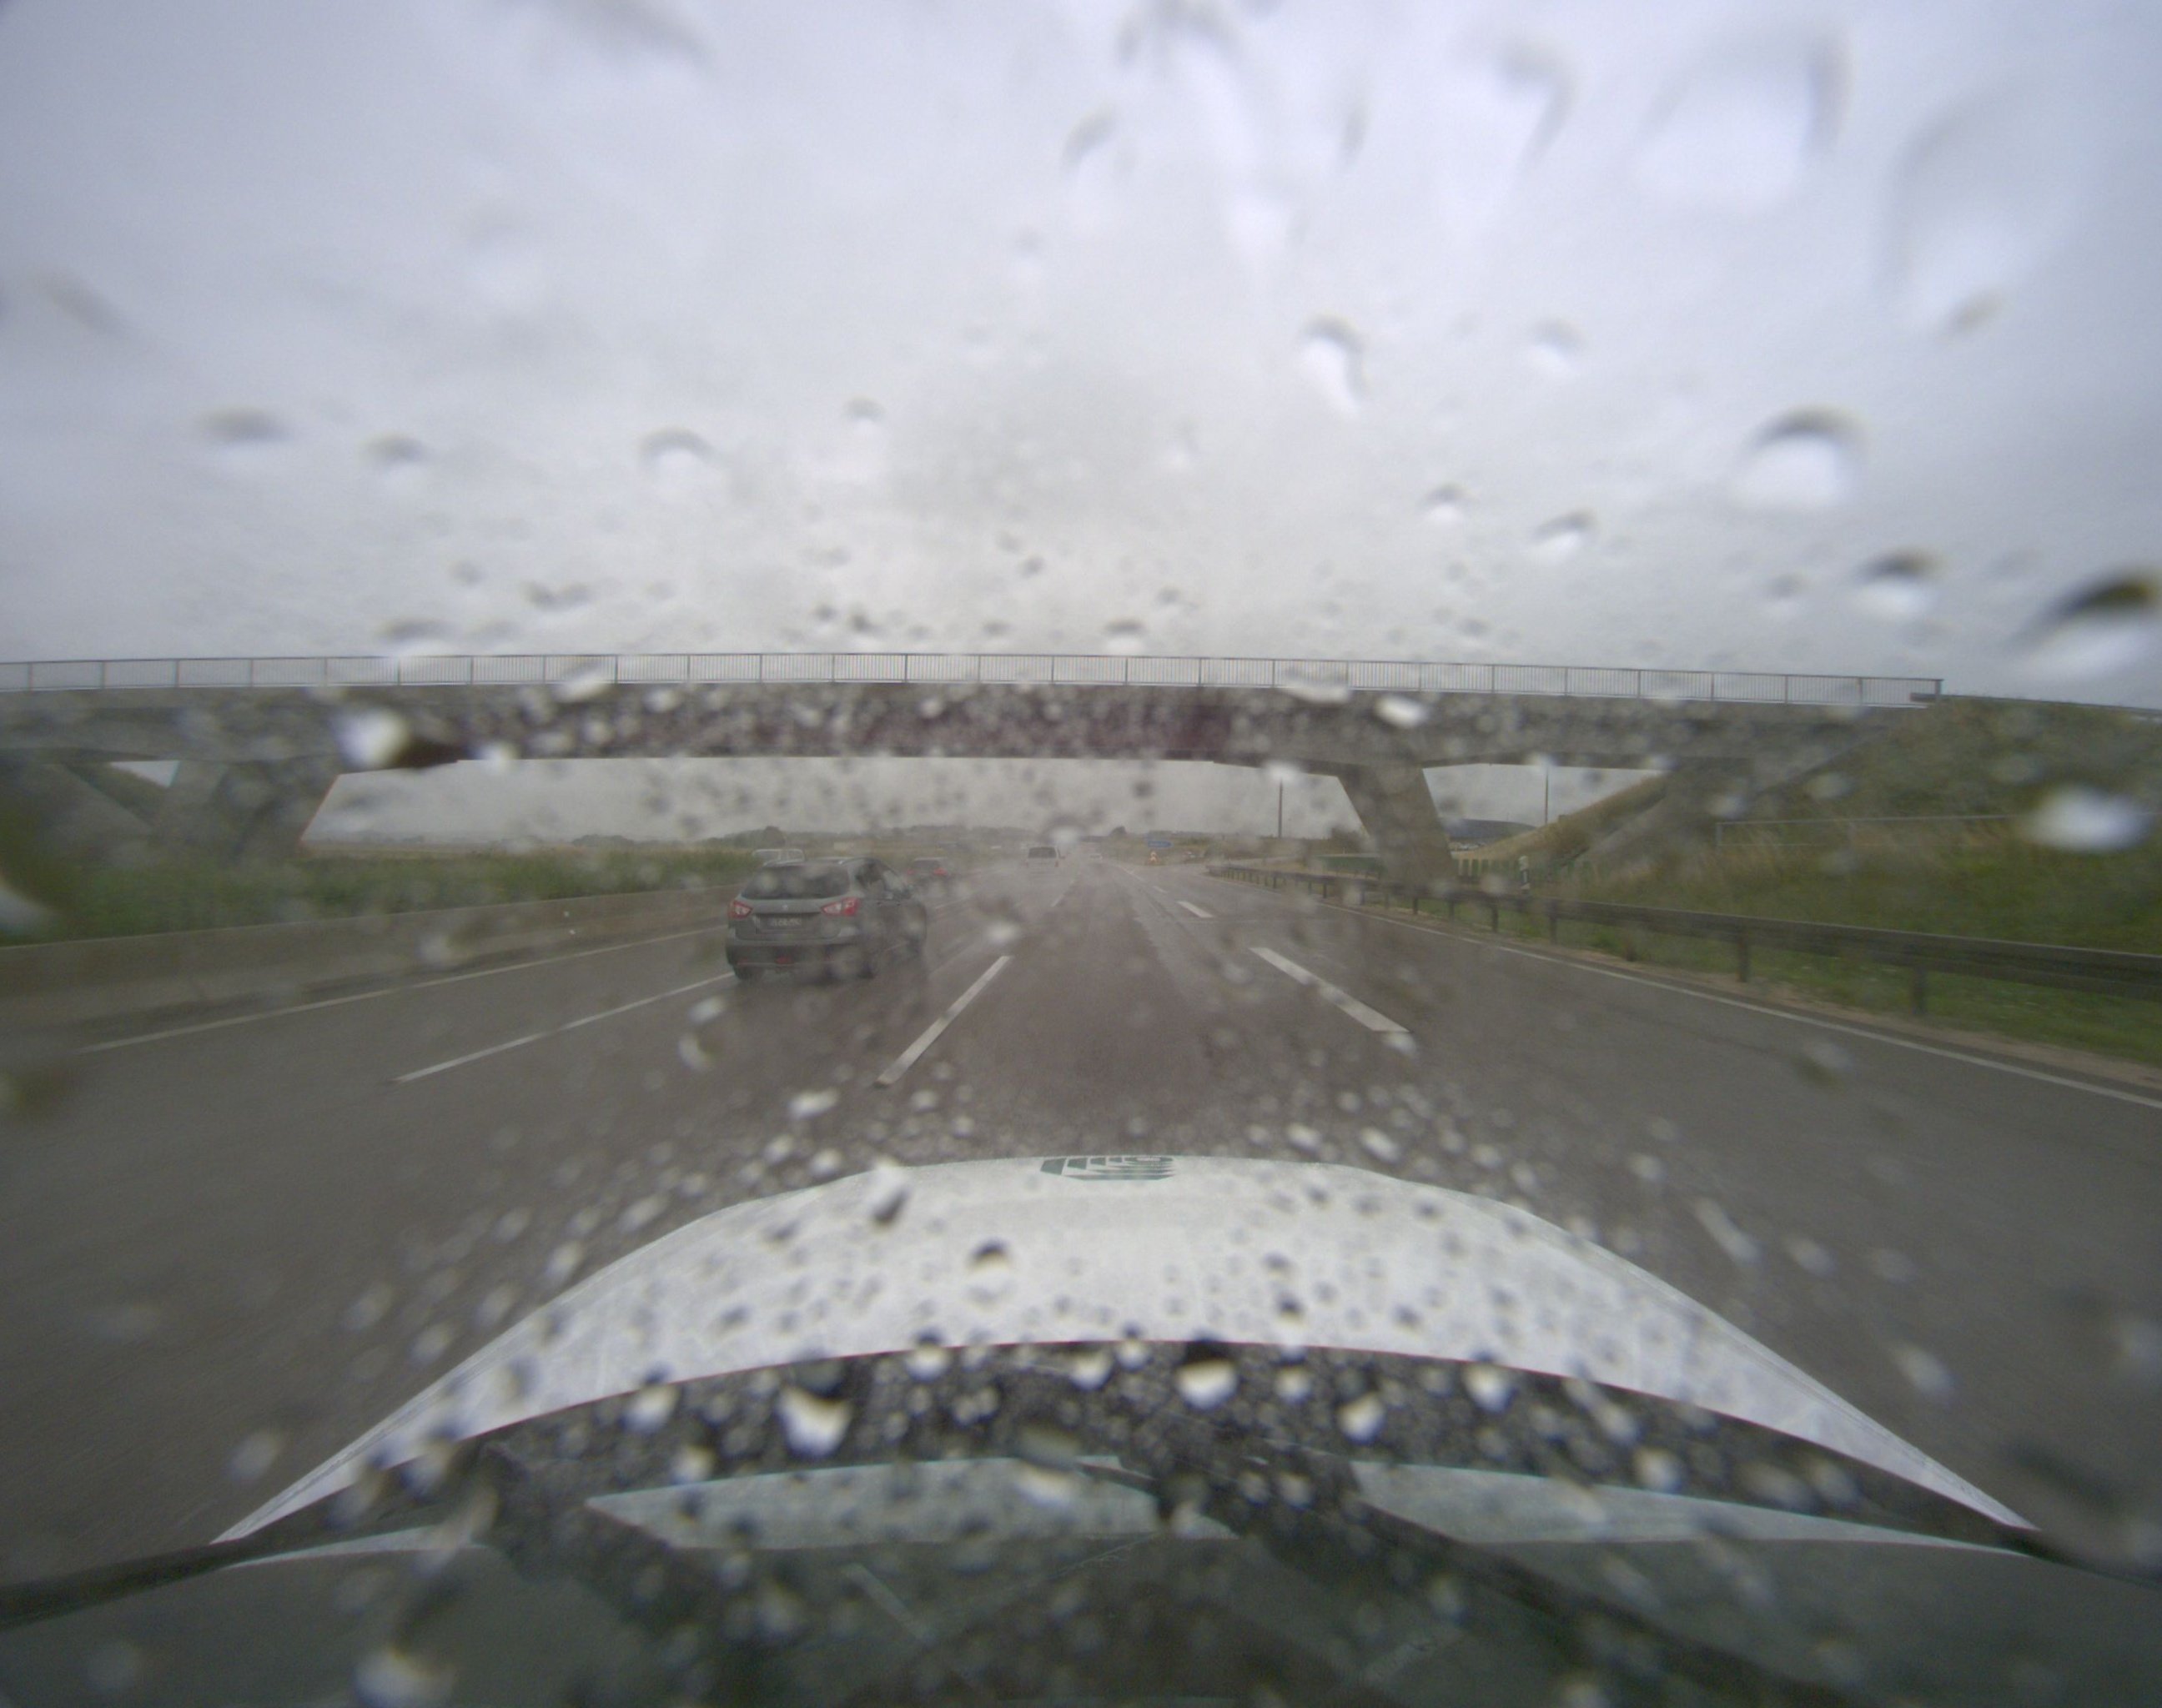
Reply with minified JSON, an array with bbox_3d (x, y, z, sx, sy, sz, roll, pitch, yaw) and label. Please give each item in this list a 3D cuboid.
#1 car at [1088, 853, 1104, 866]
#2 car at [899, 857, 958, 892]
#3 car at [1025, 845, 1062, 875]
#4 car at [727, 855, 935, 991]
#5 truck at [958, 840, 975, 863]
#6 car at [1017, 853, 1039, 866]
[{"bbox_3d":[1.536,0.548,83.519,1.462,1.208,2.994,-1,0,3],"label":"car"},{"bbox_3d":[-6.376,0.834,34.532,1.606,1.354,4.002,0,0,2],"label":"car"},{"bbox_3d":[-2.013,0.344,44.926,1.892,1.585,3.998,0,0,-1],"label":"car"},{"bbox_3d":[-3.262,0.774,11.637,1.843,1.513,4.748,-1,0,-5],"label":"car"},{"bbox_3d":[-20.557,-0.408,145.852,2.206,3.983,5.185,-1,0,1],"label":"truck"},{"bbox_3d":[-5.200,0.559,80.321,1.459,1.257,3.348,-1,0,8],"label":"car"}]
